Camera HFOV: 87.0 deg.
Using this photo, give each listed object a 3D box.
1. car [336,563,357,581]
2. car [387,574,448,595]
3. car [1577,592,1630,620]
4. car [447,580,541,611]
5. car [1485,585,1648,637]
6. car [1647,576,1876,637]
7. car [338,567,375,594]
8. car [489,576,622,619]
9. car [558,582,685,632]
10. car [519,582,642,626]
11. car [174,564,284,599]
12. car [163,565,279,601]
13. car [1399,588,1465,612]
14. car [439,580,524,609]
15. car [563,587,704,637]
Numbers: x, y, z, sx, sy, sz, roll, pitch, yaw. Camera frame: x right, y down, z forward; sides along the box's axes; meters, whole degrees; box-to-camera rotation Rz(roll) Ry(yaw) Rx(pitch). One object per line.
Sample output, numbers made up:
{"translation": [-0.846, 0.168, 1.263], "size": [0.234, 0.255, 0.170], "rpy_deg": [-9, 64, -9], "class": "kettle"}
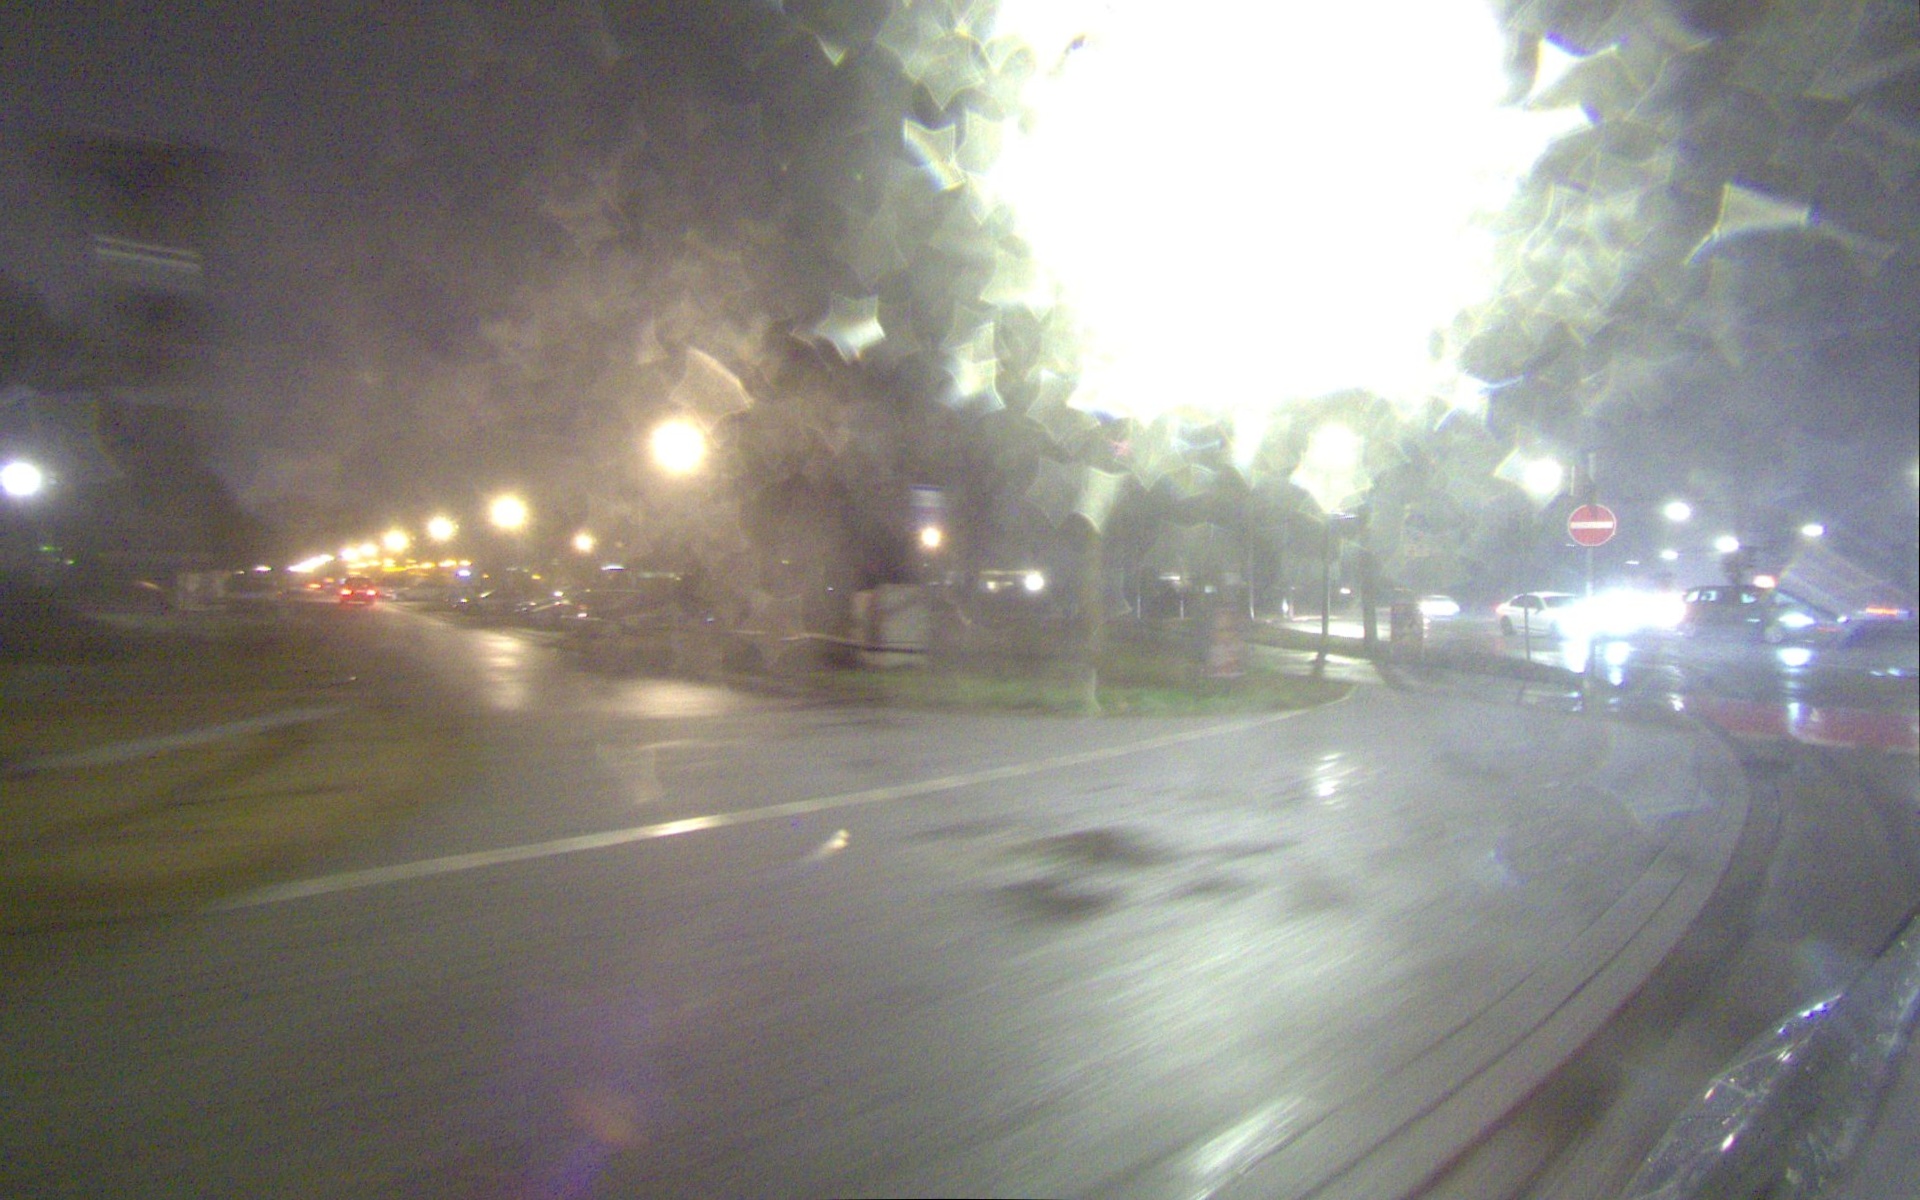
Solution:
{"translation": [-73.741, -3.372, 121.567], "size": [1.961, 2.039, 4.001], "rpy_deg": [1, 1, -34], "class": "car"}
{"translation": [-41.209, -1.161, 76.884], "size": [3.921, 1.504, 2.002], "rpy_deg": [0, 2, -32], "class": "car"}
{"translation": [42.351, 0.385, 66.600], "size": [4.115, 1.693, 1.996], "rpy_deg": [0, 1, -44], "class": "car"}
{"translation": [-24.096, -0.249, 52.363], "size": [4.106, 1.517, 2.000], "rpy_deg": [0, 2, -35], "class": "car"}
{"translation": [19.331, 0.290, 32.599], "size": [1.961, 1.484, 5.102], "rpy_deg": [1, 1, -3], "class": "car"}
{"translation": [23.160, 0.136, 29.578], "size": [1.958, 1.602, 5.208], "rpy_deg": [1, 1, -11], "class": "car"}
{"translation": [-40.249, -1.293, 67.422], "size": [1.961, 1.695, 4.002], "rpy_deg": [0, 1, -33], "class": "car"}
{"translation": [-16.220, -0.091, 40.644], "size": [4.718, 1.657, 2.002], "rpy_deg": [0, 0, -31], "class": "car"}
{"translation": [-11.410, 0.238, 34.226], "size": [3.808, 1.587, 1.490], "rpy_deg": [1, 1, -36], "class": "car"}
{"translation": [-14.421, 0.143, 38.464], "size": [4.102, 1.540, 2.002], "rpy_deg": [0, 2, -31], "class": "car"}
{"translation": [-34.280, -0.865, 47.572], "size": [4.106, 1.517, 2.000], "rpy_deg": [0, 2, -36], "class": "car"}
{"translation": [-32.996, -0.771, 45.329], "size": [4.106, 1.517, 2.000], "rpy_deg": [0, 2, -35], "class": "car"}
{"translation": [29.812, 0.008, 63.922], "size": [3.919, 1.470, 1.771], "rpy_deg": [0, 1, -28], "class": "car"}
{"translation": [-26.814, -0.312, 56.748], "size": [4.102, 1.517, 2.002], "rpy_deg": [1, 0, -31], "class": "car"}
{"translation": [-10.206, 0.359, 31.787], "size": [3.946, 1.466, 1.486], "rpy_deg": [1, 1, -37], "class": "car"}
